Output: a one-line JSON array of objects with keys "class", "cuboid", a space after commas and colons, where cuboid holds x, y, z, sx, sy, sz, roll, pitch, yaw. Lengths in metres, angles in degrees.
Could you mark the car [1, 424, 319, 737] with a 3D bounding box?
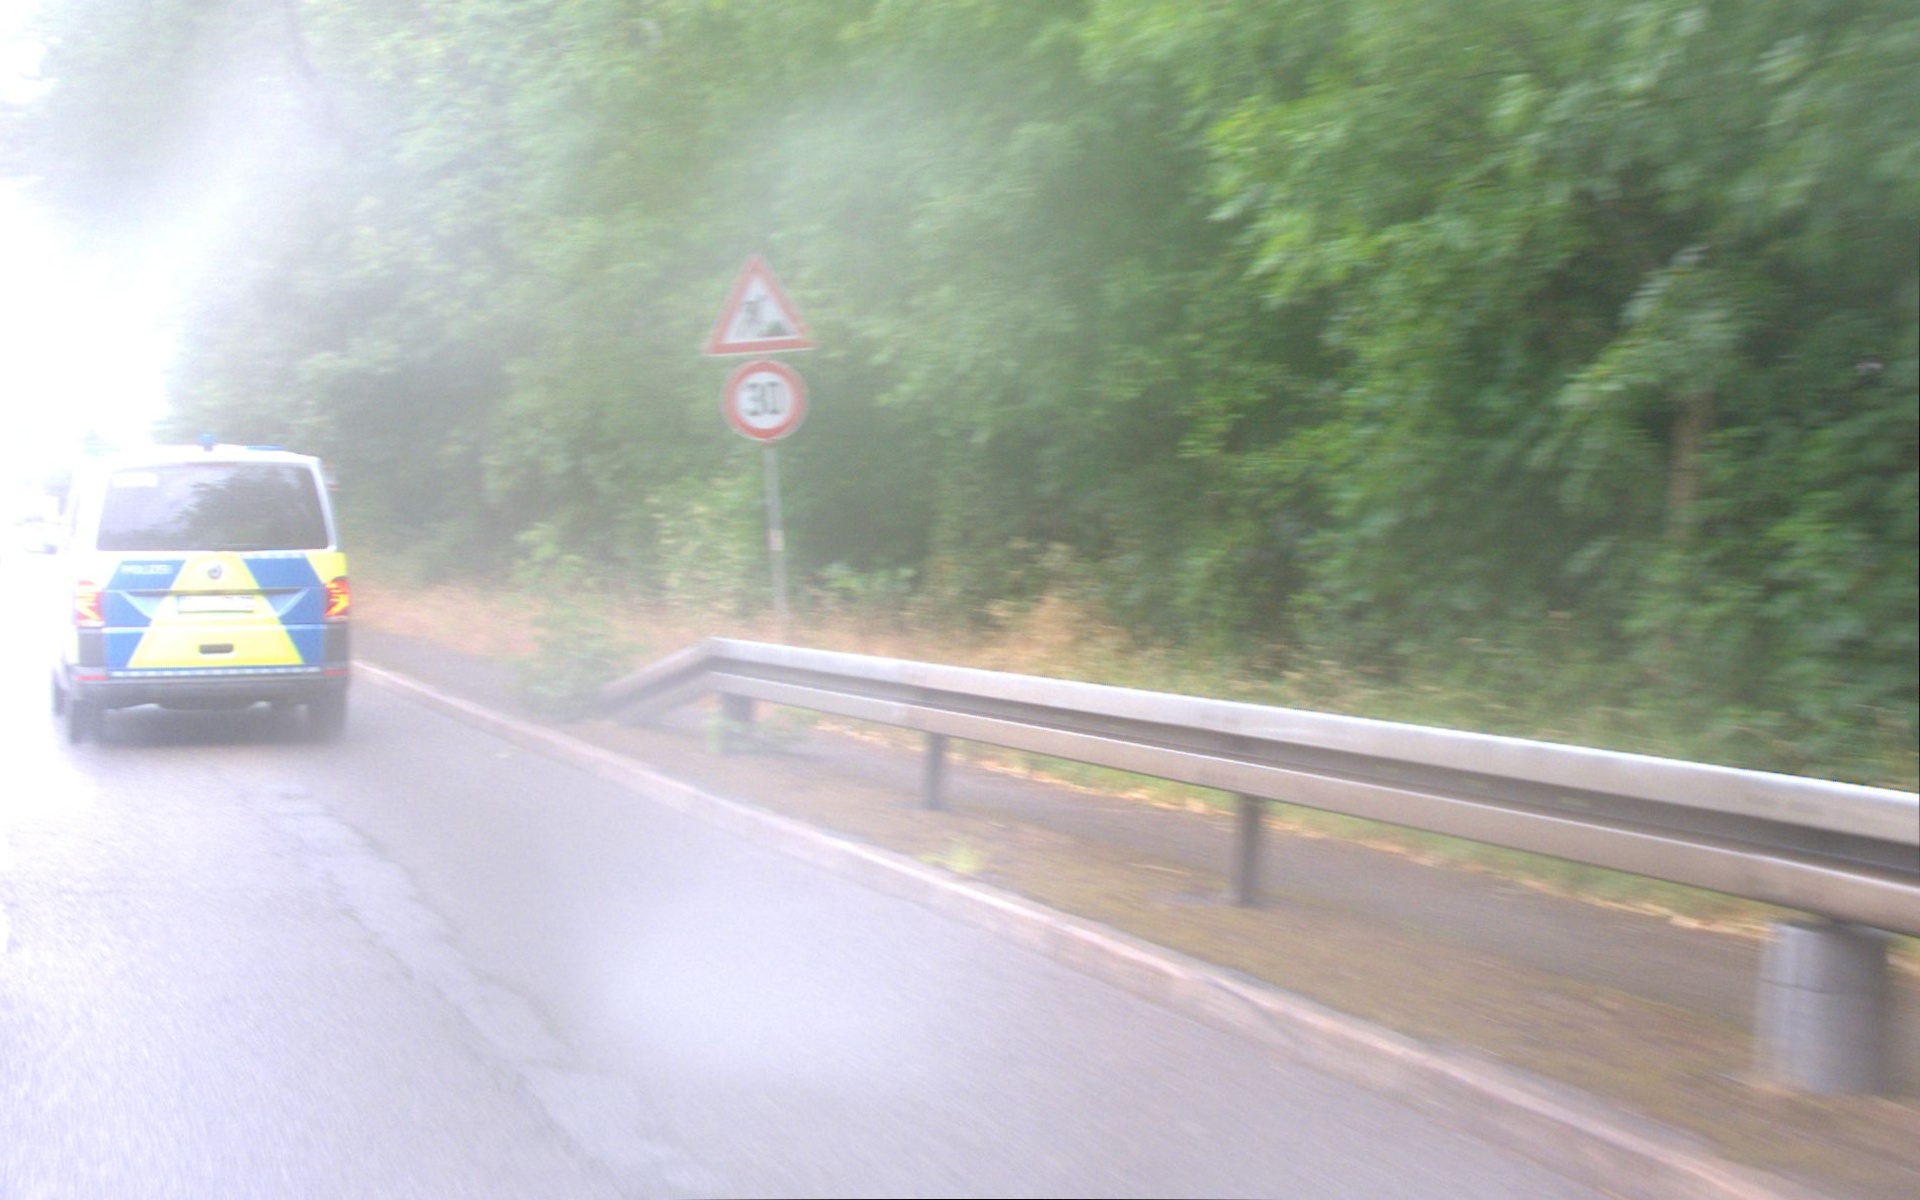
[{"class": "car", "cuboid": [-5.626, -0.140, 24.359, 1.993, 2.007, 4.403, 0, 0, -12]}]
